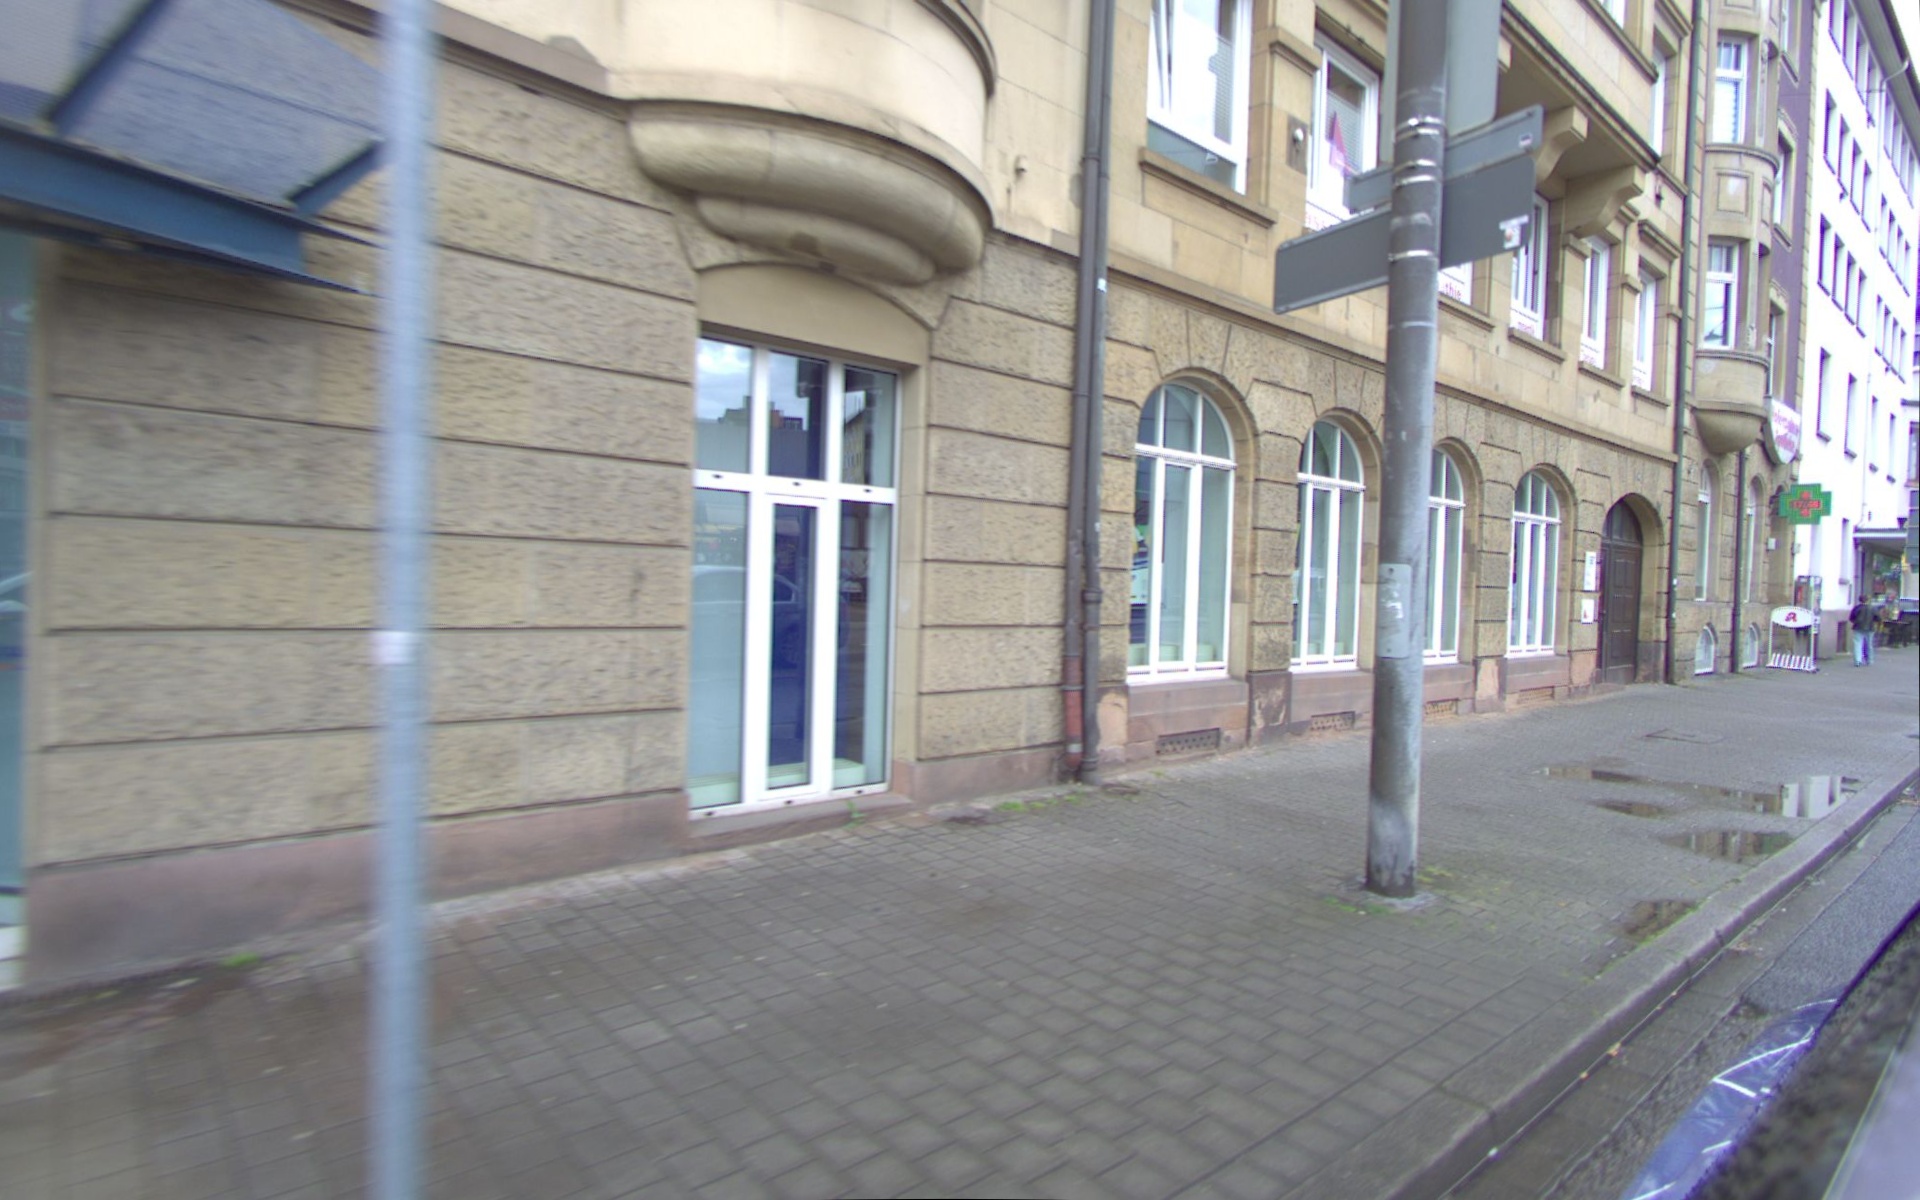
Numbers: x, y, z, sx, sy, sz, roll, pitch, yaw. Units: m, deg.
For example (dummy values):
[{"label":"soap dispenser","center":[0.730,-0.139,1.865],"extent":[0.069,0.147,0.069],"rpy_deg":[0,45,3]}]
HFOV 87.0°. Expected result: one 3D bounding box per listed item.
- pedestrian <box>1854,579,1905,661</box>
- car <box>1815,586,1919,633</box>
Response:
[{"label":"pedestrian","center":[20.081,0.425,22.094],"extent":[0.885,1.741,0.673],"rpy_deg":[1,1,-40]},{"label":"car","center":[37.782,0.371,41.428],"extent":[4.132,1.794,1.847],"rpy_deg":[2,1,39]}]
